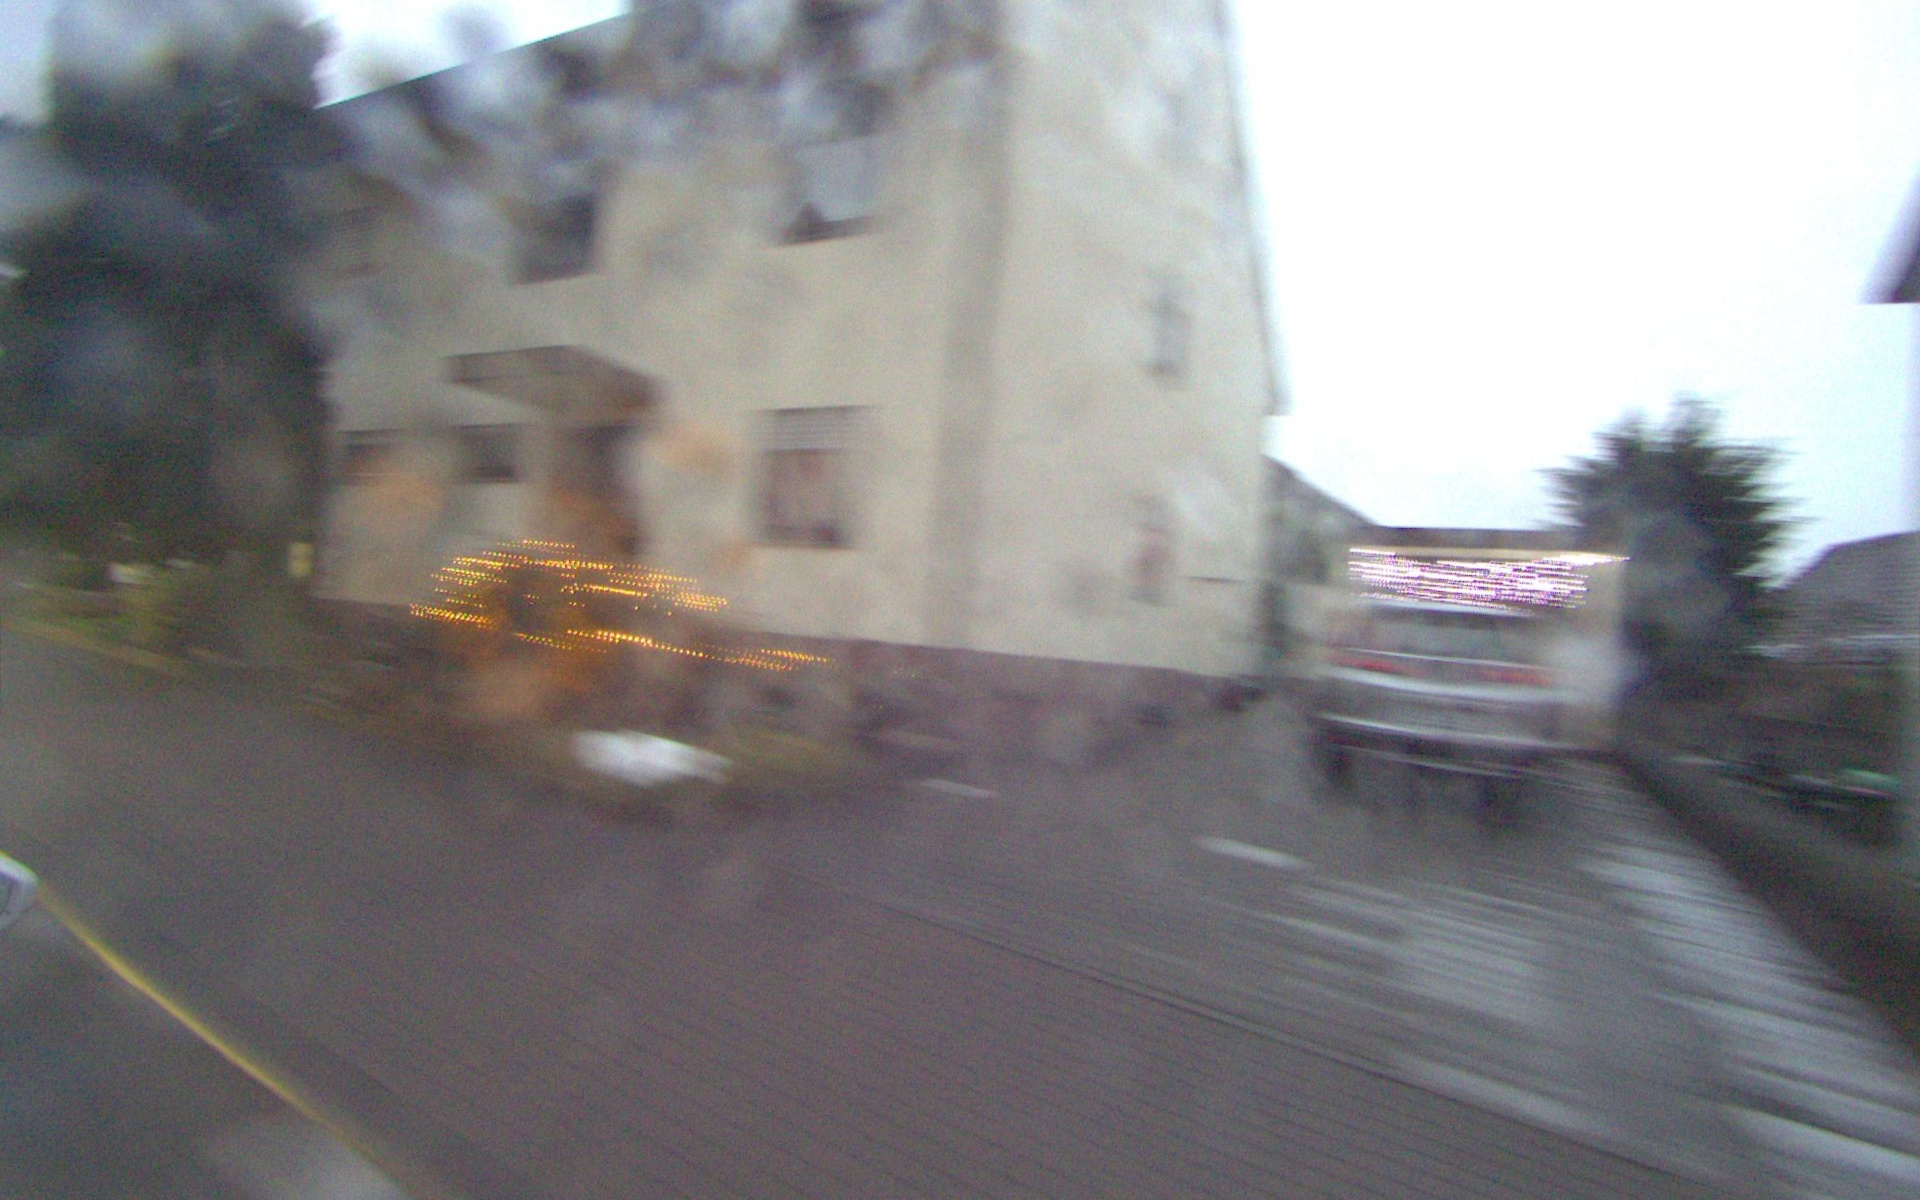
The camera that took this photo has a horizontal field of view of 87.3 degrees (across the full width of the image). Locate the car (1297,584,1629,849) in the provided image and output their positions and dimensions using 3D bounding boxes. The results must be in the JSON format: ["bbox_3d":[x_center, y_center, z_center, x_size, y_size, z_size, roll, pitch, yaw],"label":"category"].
[{"bbox_3d":[4.356,0.796,9.440,2.025,1.671,4.259,7,3,19],"label":"car"}]
